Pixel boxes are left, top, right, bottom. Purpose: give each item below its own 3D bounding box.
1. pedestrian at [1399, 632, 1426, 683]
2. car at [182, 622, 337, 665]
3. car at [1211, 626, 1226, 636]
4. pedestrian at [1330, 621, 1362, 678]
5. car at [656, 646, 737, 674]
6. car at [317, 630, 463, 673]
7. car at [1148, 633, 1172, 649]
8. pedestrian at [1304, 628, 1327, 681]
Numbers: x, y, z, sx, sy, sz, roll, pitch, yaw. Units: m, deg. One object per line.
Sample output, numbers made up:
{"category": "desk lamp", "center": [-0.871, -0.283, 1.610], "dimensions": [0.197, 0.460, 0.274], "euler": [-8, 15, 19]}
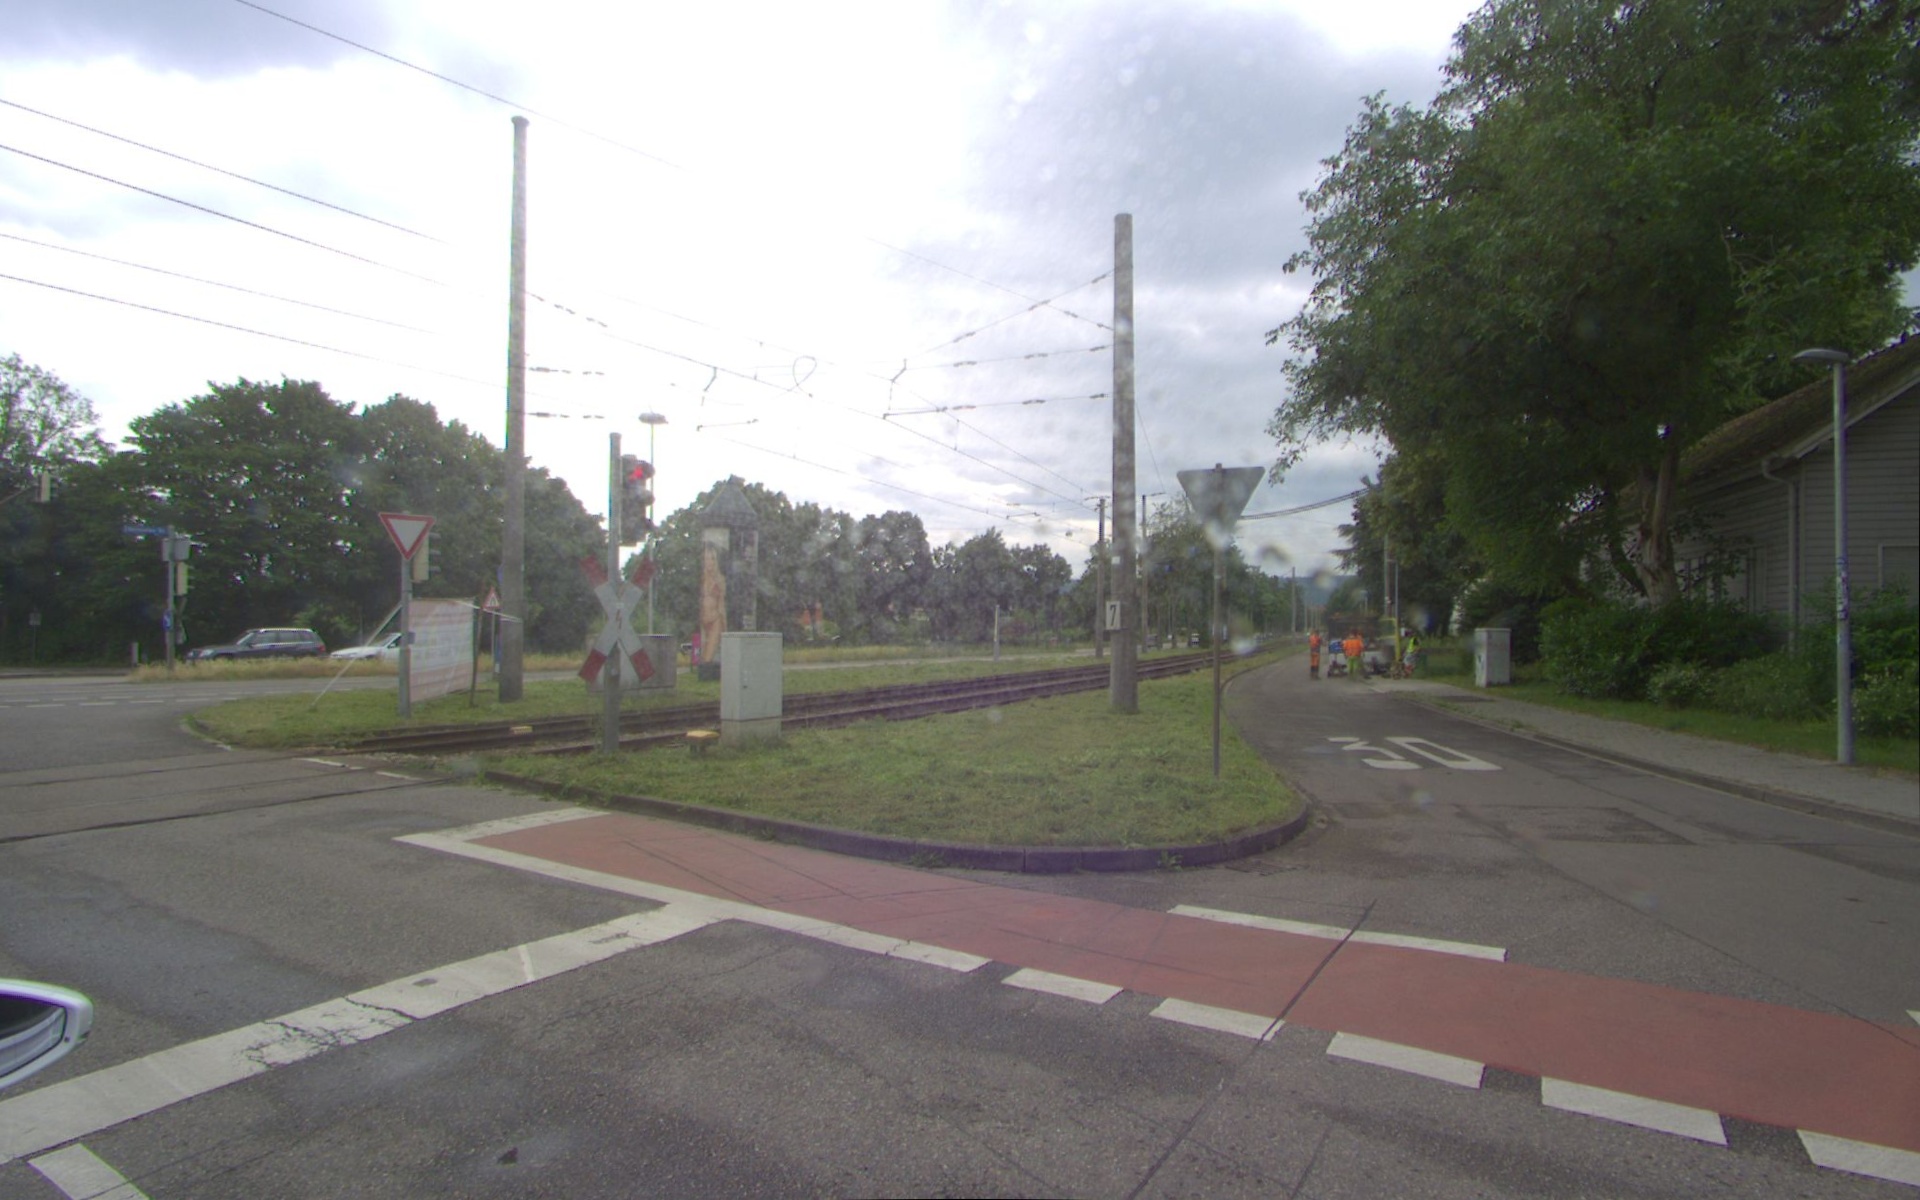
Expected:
{"category": "pedestrian", "center": [16.506, 2.092, 36.546], "dimensions": [0.598, 1.864, 0.712], "euler": [1, -1, -13]}
{"category": "car", "center": [-26.450, 1.625, 37.951], "dimensions": [1.820, 1.523, 4.456], "euler": [0, -2, 33]}
{"category": "car", "center": [45.013, 5.388, 174.291], "dimensions": [1.966, 1.827, 3.992], "euler": [-1, -2, 22]}
{"category": "pedestrian", "center": [13.080, 1.671, 33.948], "dimensions": [0.862, 1.878, 0.676], "euler": [1, -1, 34]}
{"category": "car", "center": [-15.032, 3.412, 57.315], "dimensions": [1.820, 1.458, 4.456], "euler": [0, -2, 33]}
{"category": "car", "center": [-19.716, 1.761, 34.773], "dimensions": [1.624, 1.374, 4.129], "euler": [0, -2, 33]}
{"category": "car", "center": [21.959, 4.502, 109.953], "dimensions": [1.966, 1.743, 3.992], "euler": [-1, -2, 21]}
{"category": "pedestrian", "center": [12.760, 1.945, 35.970], "dimensions": [0.757, 1.892, 0.604], "euler": [0, -1, 17]}
